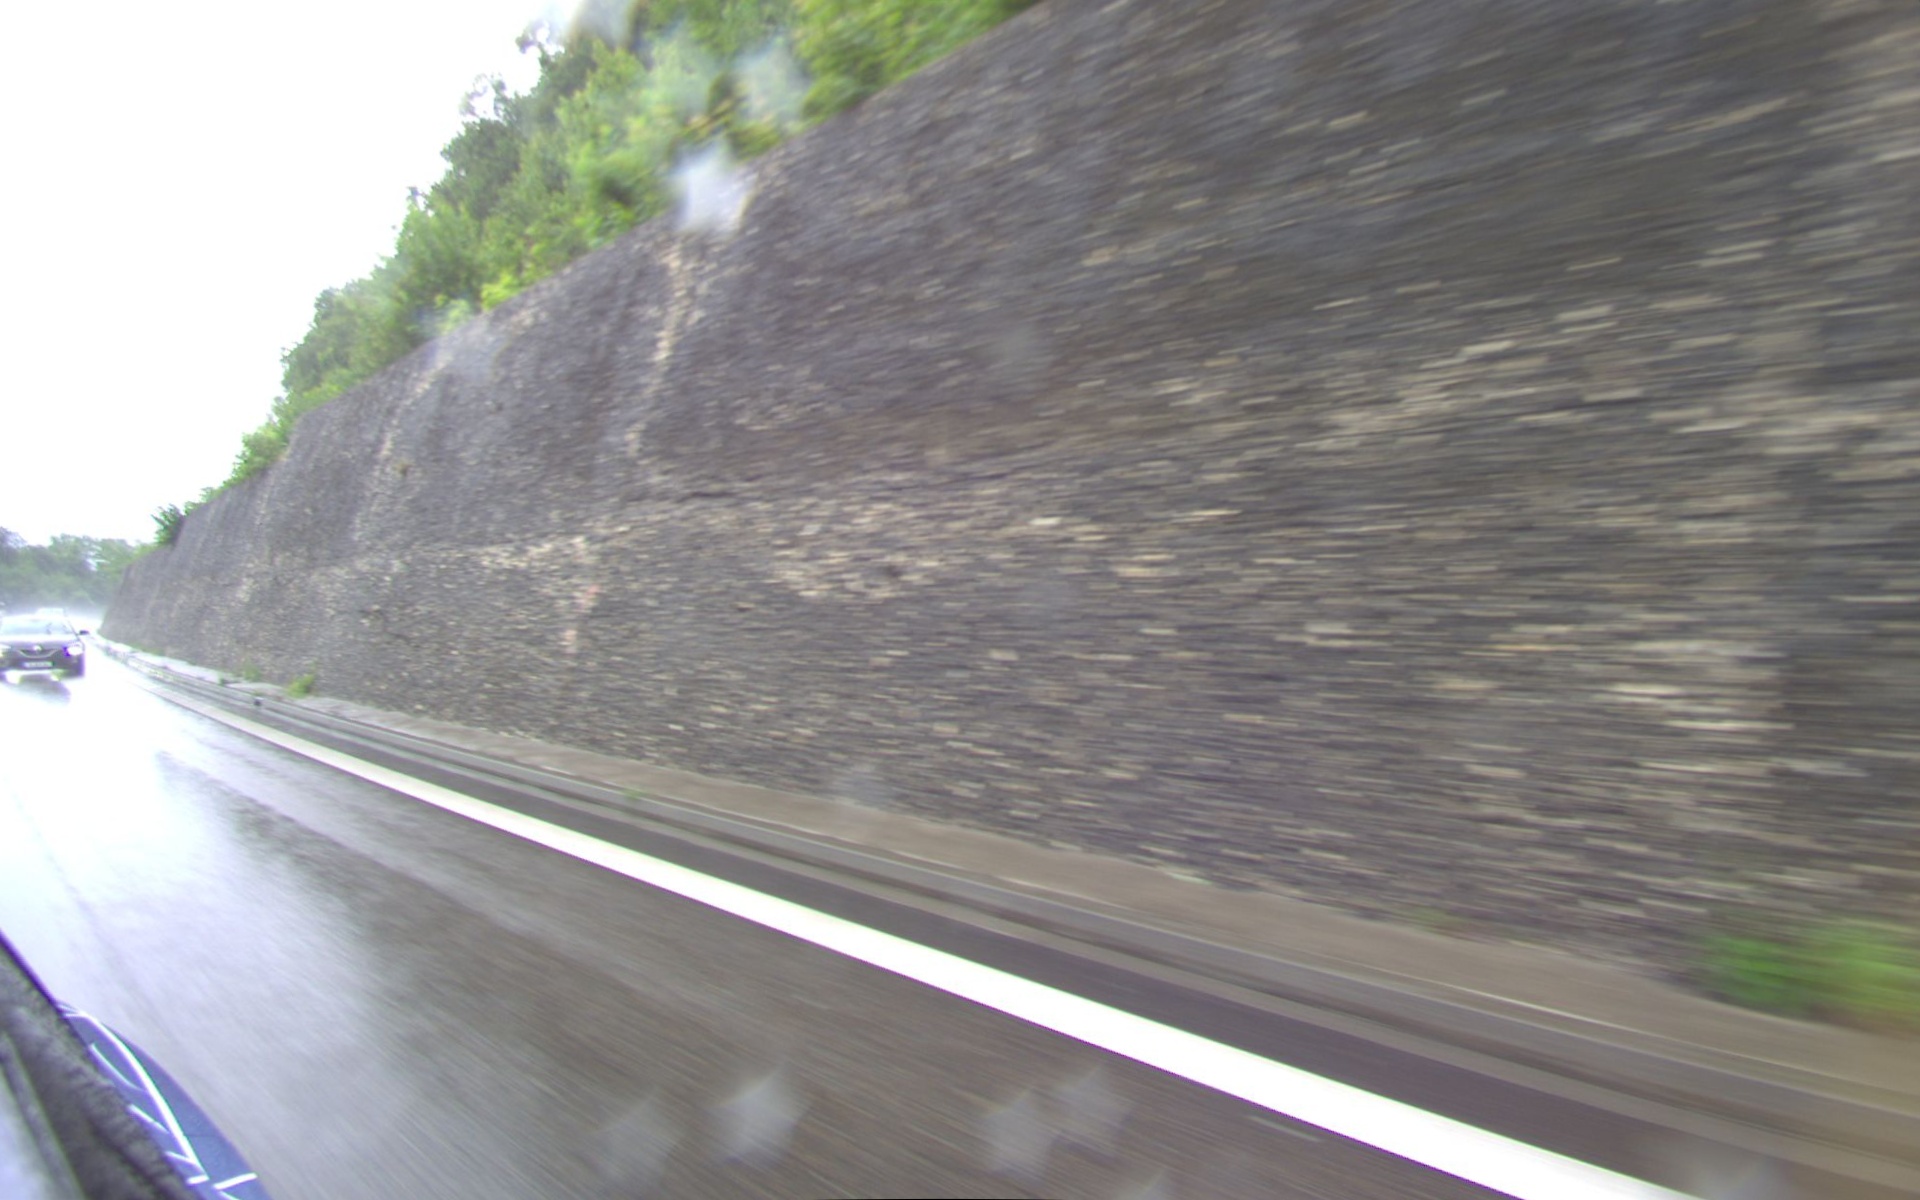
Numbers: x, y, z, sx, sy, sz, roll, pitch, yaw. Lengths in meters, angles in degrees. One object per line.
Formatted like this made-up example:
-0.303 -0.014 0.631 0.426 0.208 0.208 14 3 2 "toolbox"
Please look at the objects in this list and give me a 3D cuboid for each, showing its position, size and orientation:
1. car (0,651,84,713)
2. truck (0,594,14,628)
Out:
-22.949 1.965 24.768 3.999 1.394 1.803 -3 -4 43 "car"
-124.125 1.444 129.839 2.765 4.338 6.484 1 -1 -32 "truck"
